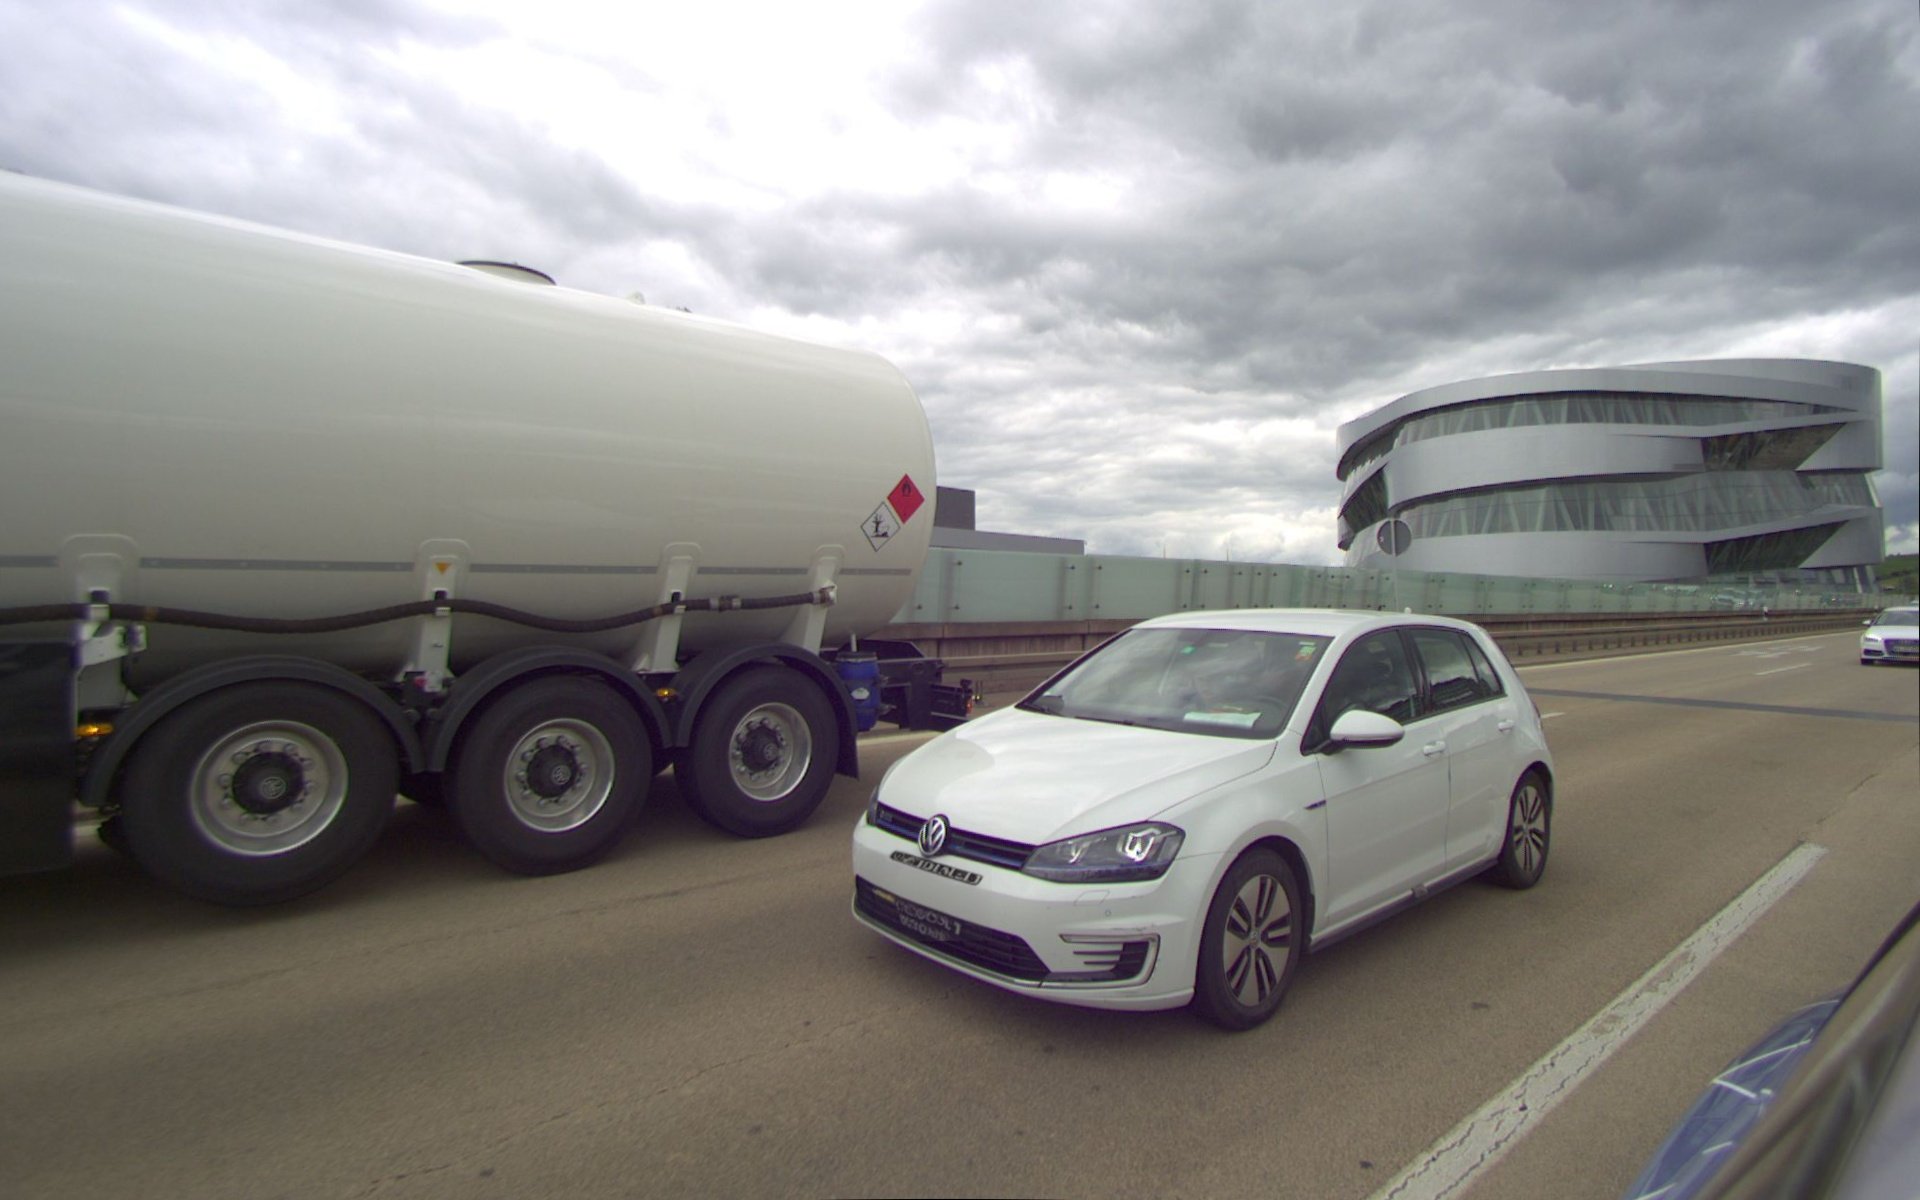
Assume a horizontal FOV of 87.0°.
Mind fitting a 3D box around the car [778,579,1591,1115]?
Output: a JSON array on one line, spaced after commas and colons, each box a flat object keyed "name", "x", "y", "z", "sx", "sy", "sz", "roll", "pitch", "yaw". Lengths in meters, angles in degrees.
[{"name": "car", "x": 1.332, "y": 0.670, "z": 4.788, "sx": 4.002, "sy": 1.470, "sz": 1.757, "roll": 0, "pitch": 1, "yaw": -42}]

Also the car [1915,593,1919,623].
[{"name": "car", "x": 53.487, "y": 0.422, "z": 55.079, "sx": 3.563, "sy": 1.654, "sz": 1.784, "roll": 0, "pitch": 0, "yaw": -40}]

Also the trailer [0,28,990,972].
[{"name": "trailer", "x": -4.796, "y": -0.389, "z": 4.610, "sx": 11.024, "sy": 3.588, "sz": 2.655, "roll": 0, "pitch": 0, "yaw": -41}]

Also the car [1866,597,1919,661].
[{"name": "car", "x": 23.756, "y": 0.678, "z": 24.690, "sx": 3.861, "sy": 1.470, "sz": 1.848, "roll": 0, "pitch": 0, "yaw": -39}]
